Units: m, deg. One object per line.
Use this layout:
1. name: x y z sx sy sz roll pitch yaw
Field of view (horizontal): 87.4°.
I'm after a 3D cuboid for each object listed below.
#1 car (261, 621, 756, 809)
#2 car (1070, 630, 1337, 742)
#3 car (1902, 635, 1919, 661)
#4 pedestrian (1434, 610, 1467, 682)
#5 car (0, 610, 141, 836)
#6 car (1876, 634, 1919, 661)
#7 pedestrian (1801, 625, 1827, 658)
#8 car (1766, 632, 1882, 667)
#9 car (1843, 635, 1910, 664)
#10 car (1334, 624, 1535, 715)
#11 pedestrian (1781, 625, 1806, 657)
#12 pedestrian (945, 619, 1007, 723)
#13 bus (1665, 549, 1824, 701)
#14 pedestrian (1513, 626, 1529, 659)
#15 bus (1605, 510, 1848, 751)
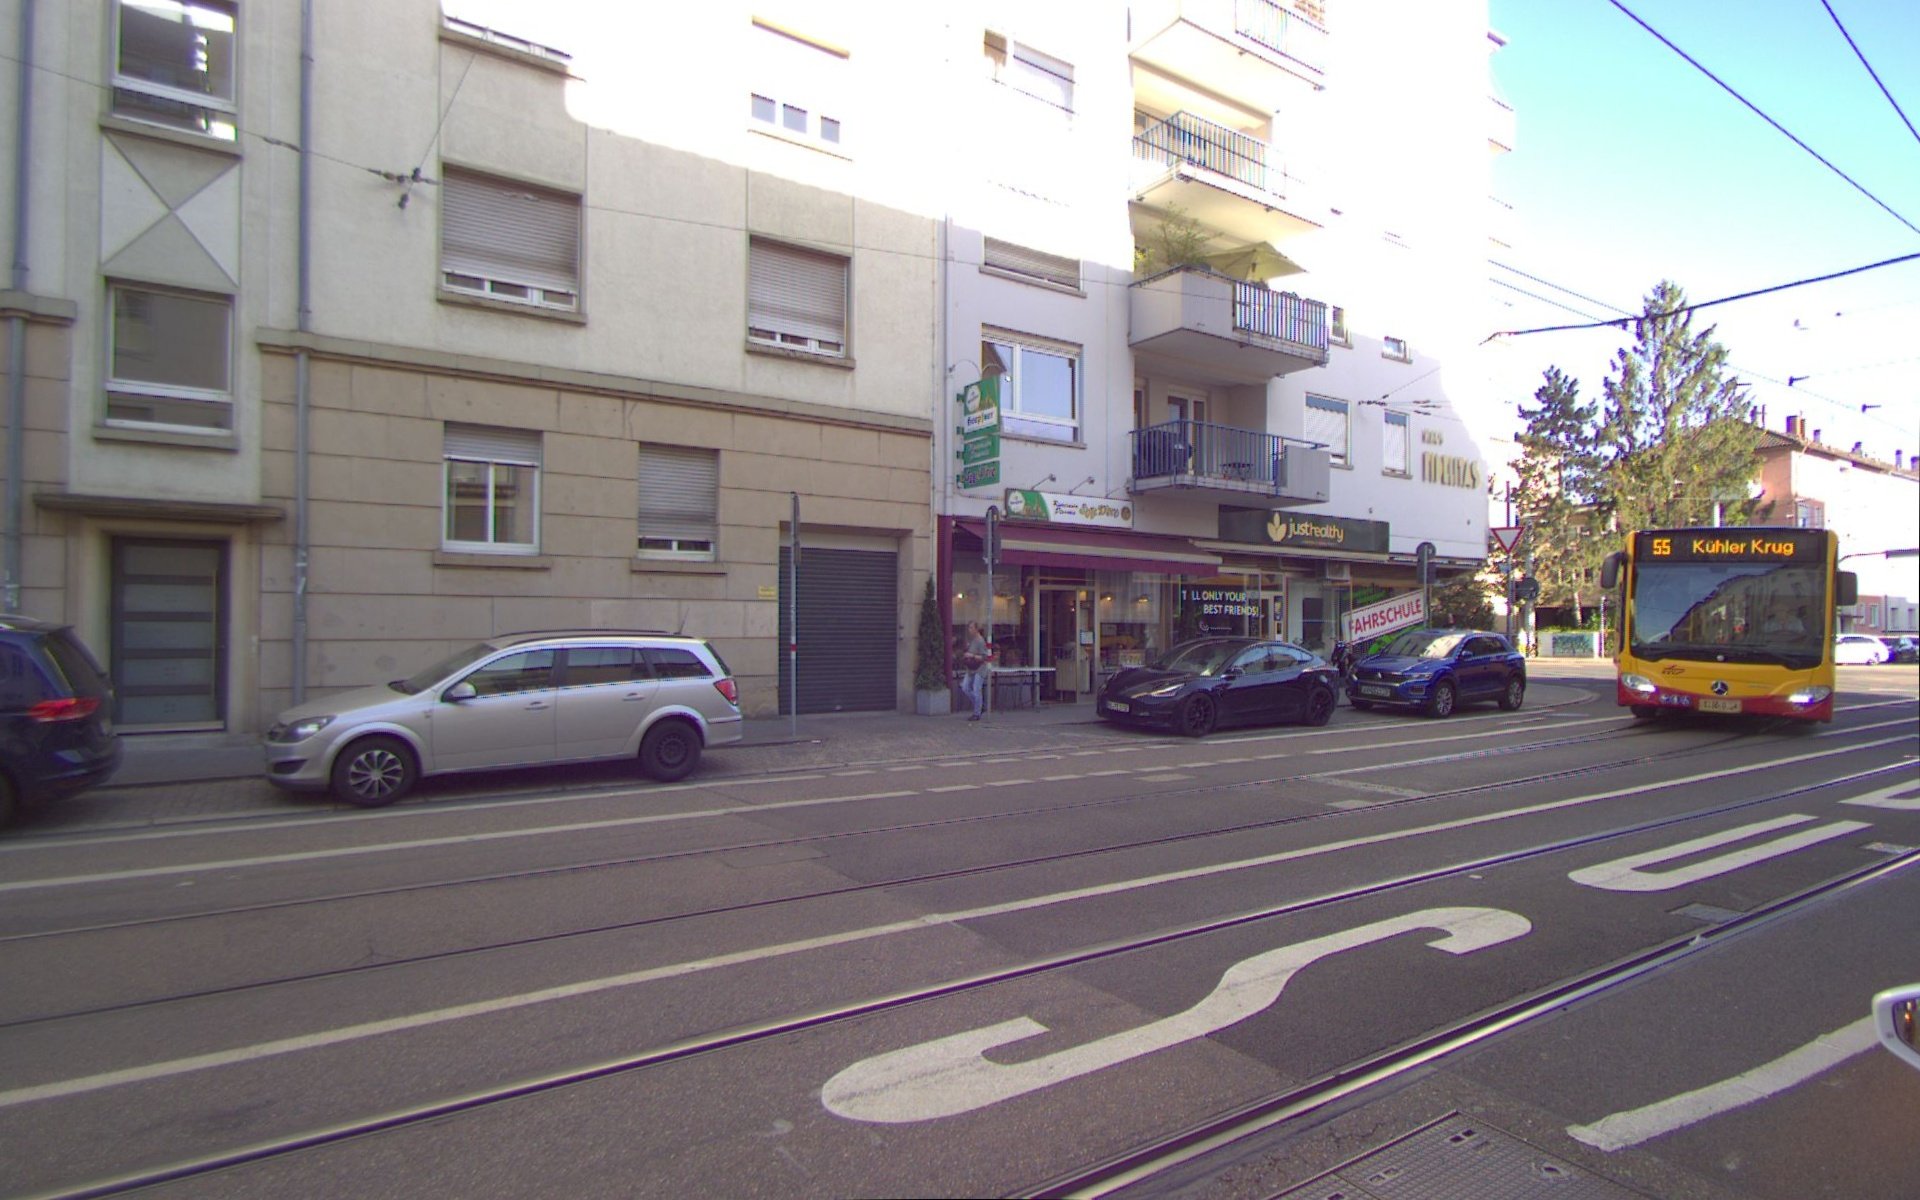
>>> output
1. car: -4.470 1.040 10.299 4.341 1.529 1.689 2 -1 -34
2. car: 3.951 1.291 16.067 4.266 1.529 1.689 2 -1 -33
3. car: 57.988 2.828 59.871 3.959 1.517 1.899 1 -2 -35
4. pedestrian: 14.084 1.304 28.837 0.481 2.040 0.682 1 -1 -36
5. car: -8.749 0.879 7.265 4.201 1.637 1.688 2 -1 -35
6. car: 54.172 2.694 57.338 3.959 1.517 1.899 1 -2 -35
7. pedestrian: 45.265 2.203 53.222 0.728 1.713 0.840 1 -1 -27
8. car: 40.749 2.330 47.395 4.322 1.595 1.853 1 -1 -10
9. car: 49.451 2.640 54.187 3.961 1.452 1.898 1 -2 -36
10. car: 9.111 1.283 19.211 3.960 1.529 1.733 2 -1 -35
11. pedestrian: 44.746 2.208 53.931 0.728 1.713 0.840 1 -1 -27
12. pedestrian: 0.251 1.084 15.701 0.713 1.569 0.694 0 -1 -30
13. bus: 19.470 0.635 24.901 2.705 3.203 7.544 -1 -2 39
14. pedestrian: 32.158 2.420 57.573 0.665 1.858 0.506 1 -1 -30
15. bus: 13.867 0.550 18.182 2.689 3.200 10.152 -1 -2 38
